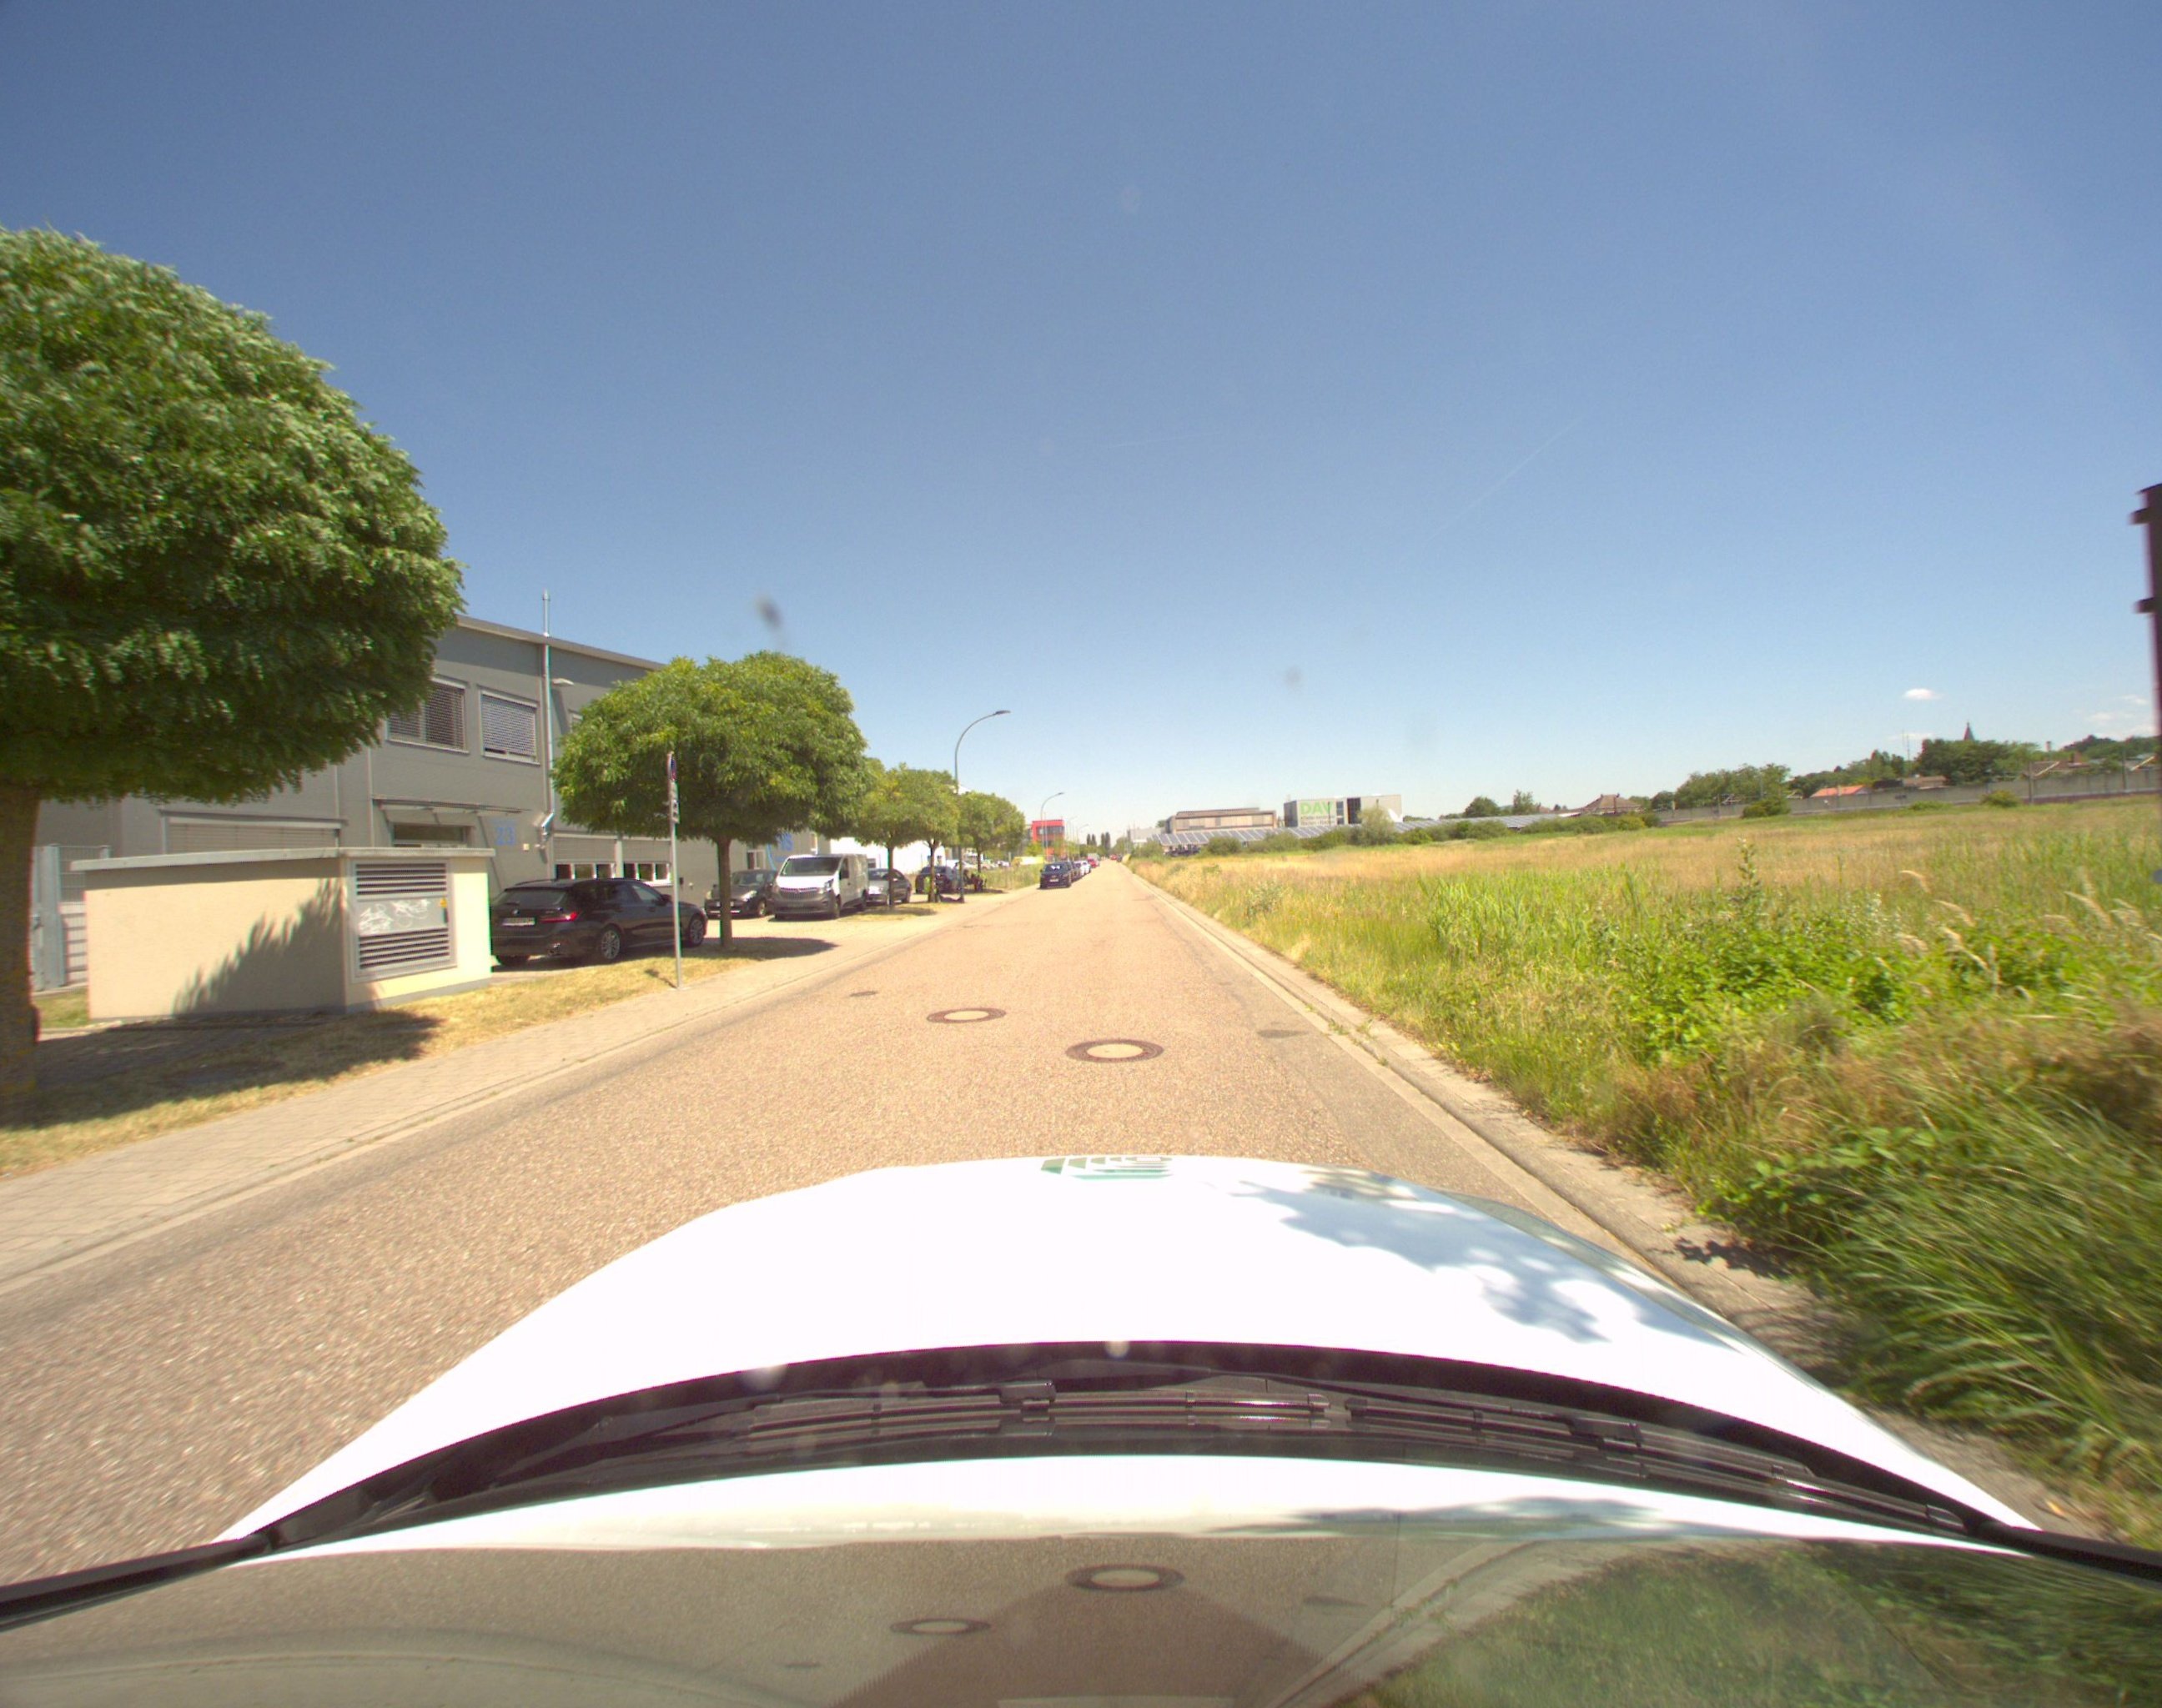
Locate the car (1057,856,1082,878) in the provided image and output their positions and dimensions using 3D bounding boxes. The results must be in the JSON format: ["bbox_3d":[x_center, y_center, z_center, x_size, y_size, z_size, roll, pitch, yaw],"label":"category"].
[{"bbox_3d":[-0.894,1.032,66.093,1.762,1.663,4.554,-3,0,2],"label":"car"}]

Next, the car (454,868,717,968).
[{"bbox_3d":[-8.650,1.024,14.845,1.759,1.453,4.716,0,0,2],"label":"car"}]

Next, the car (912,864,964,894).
[{"bbox_3d":[-7.613,1.294,43.757,1.920,1.464,4.692,0,0,1],"label":"car"}]

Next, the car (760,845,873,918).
[{"bbox_3d":[-8.180,0.800,25.716,1.831,2.019,5.125,-2,0,0],"label":"car"}]

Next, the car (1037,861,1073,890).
[{"bbox_3d":[-1.533,1.275,49.778,1.920,1.567,4.190,-3,0,1],"label":"car"}]

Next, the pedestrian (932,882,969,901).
[{"bbox_3d":[-5.323,1.538,33.268,1.352,0.749,0.754,0,-1,4],"label":"pedestrian"}]

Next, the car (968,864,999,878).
[{"bbox_3d":[-15.677,2.697,131.301,4.511,1.943,2.032,-3,-1,2],"label":"car"}]

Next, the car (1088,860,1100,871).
[{"bbox_3d":[2.186,1.856,132.212,1.780,1.520,3.984,-3,-1,2],"label":"car"}]

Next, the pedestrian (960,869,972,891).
[{"bbox_3d":[-6.151,1.388,43.587,0.503,1.191,0.754,0,-1,4],"label":"pedestrian"}]

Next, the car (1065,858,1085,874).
[{"bbox_3d":[-0.557,1.183,82.397,1.780,1.520,3.984,-2,0,2],"label":"car"}]

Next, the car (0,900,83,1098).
[{"bbox_3d":[-9.040,1.107,4.679,1.758,1.453,3.843,-1,0,3],"label":"car"}]

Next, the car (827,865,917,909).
[{"bbox_3d":[-7.900,1.238,31.250,1.919,1.440,4.844,-3,-2,3],"label":"car"}]

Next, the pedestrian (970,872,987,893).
[{"bbox_3d":[-5.319,1.470,42.186,0.747,1.099,0.647,0,-1,6],"label":"pedestrian"}]

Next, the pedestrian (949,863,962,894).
[{"bbox_3d":[-6.467,1.243,41.980,0.503,1.595,0.754,0,-1,4],"label":"pedestrian"}]

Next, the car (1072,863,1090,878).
[{"bbox_3d":[0.039,1.856,93.525,1.780,1.520,3.984,-3,0,2],"label":"car"}]

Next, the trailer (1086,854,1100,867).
[{"bbox_3d":[2.114,1.174,143.805,2.192,2.137,4.287,-3,-1,2],"label":"trailer"}]

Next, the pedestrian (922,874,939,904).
[{"bbox_3d":[-5.887,1.376,31.903,0.475,1.150,0.557,0,-3,12],"label":"pedestrian"}]

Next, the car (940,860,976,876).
[{"bbox_3d":[-16.723,1.914,111.013,4.511,1.943,2.032,-3,-1,2],"label":"car"}]

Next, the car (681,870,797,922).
[{"bbox_3d":[-10.708,1.260,25.876,1.920,1.440,4.087,0,0,0],"label":"car"}]
